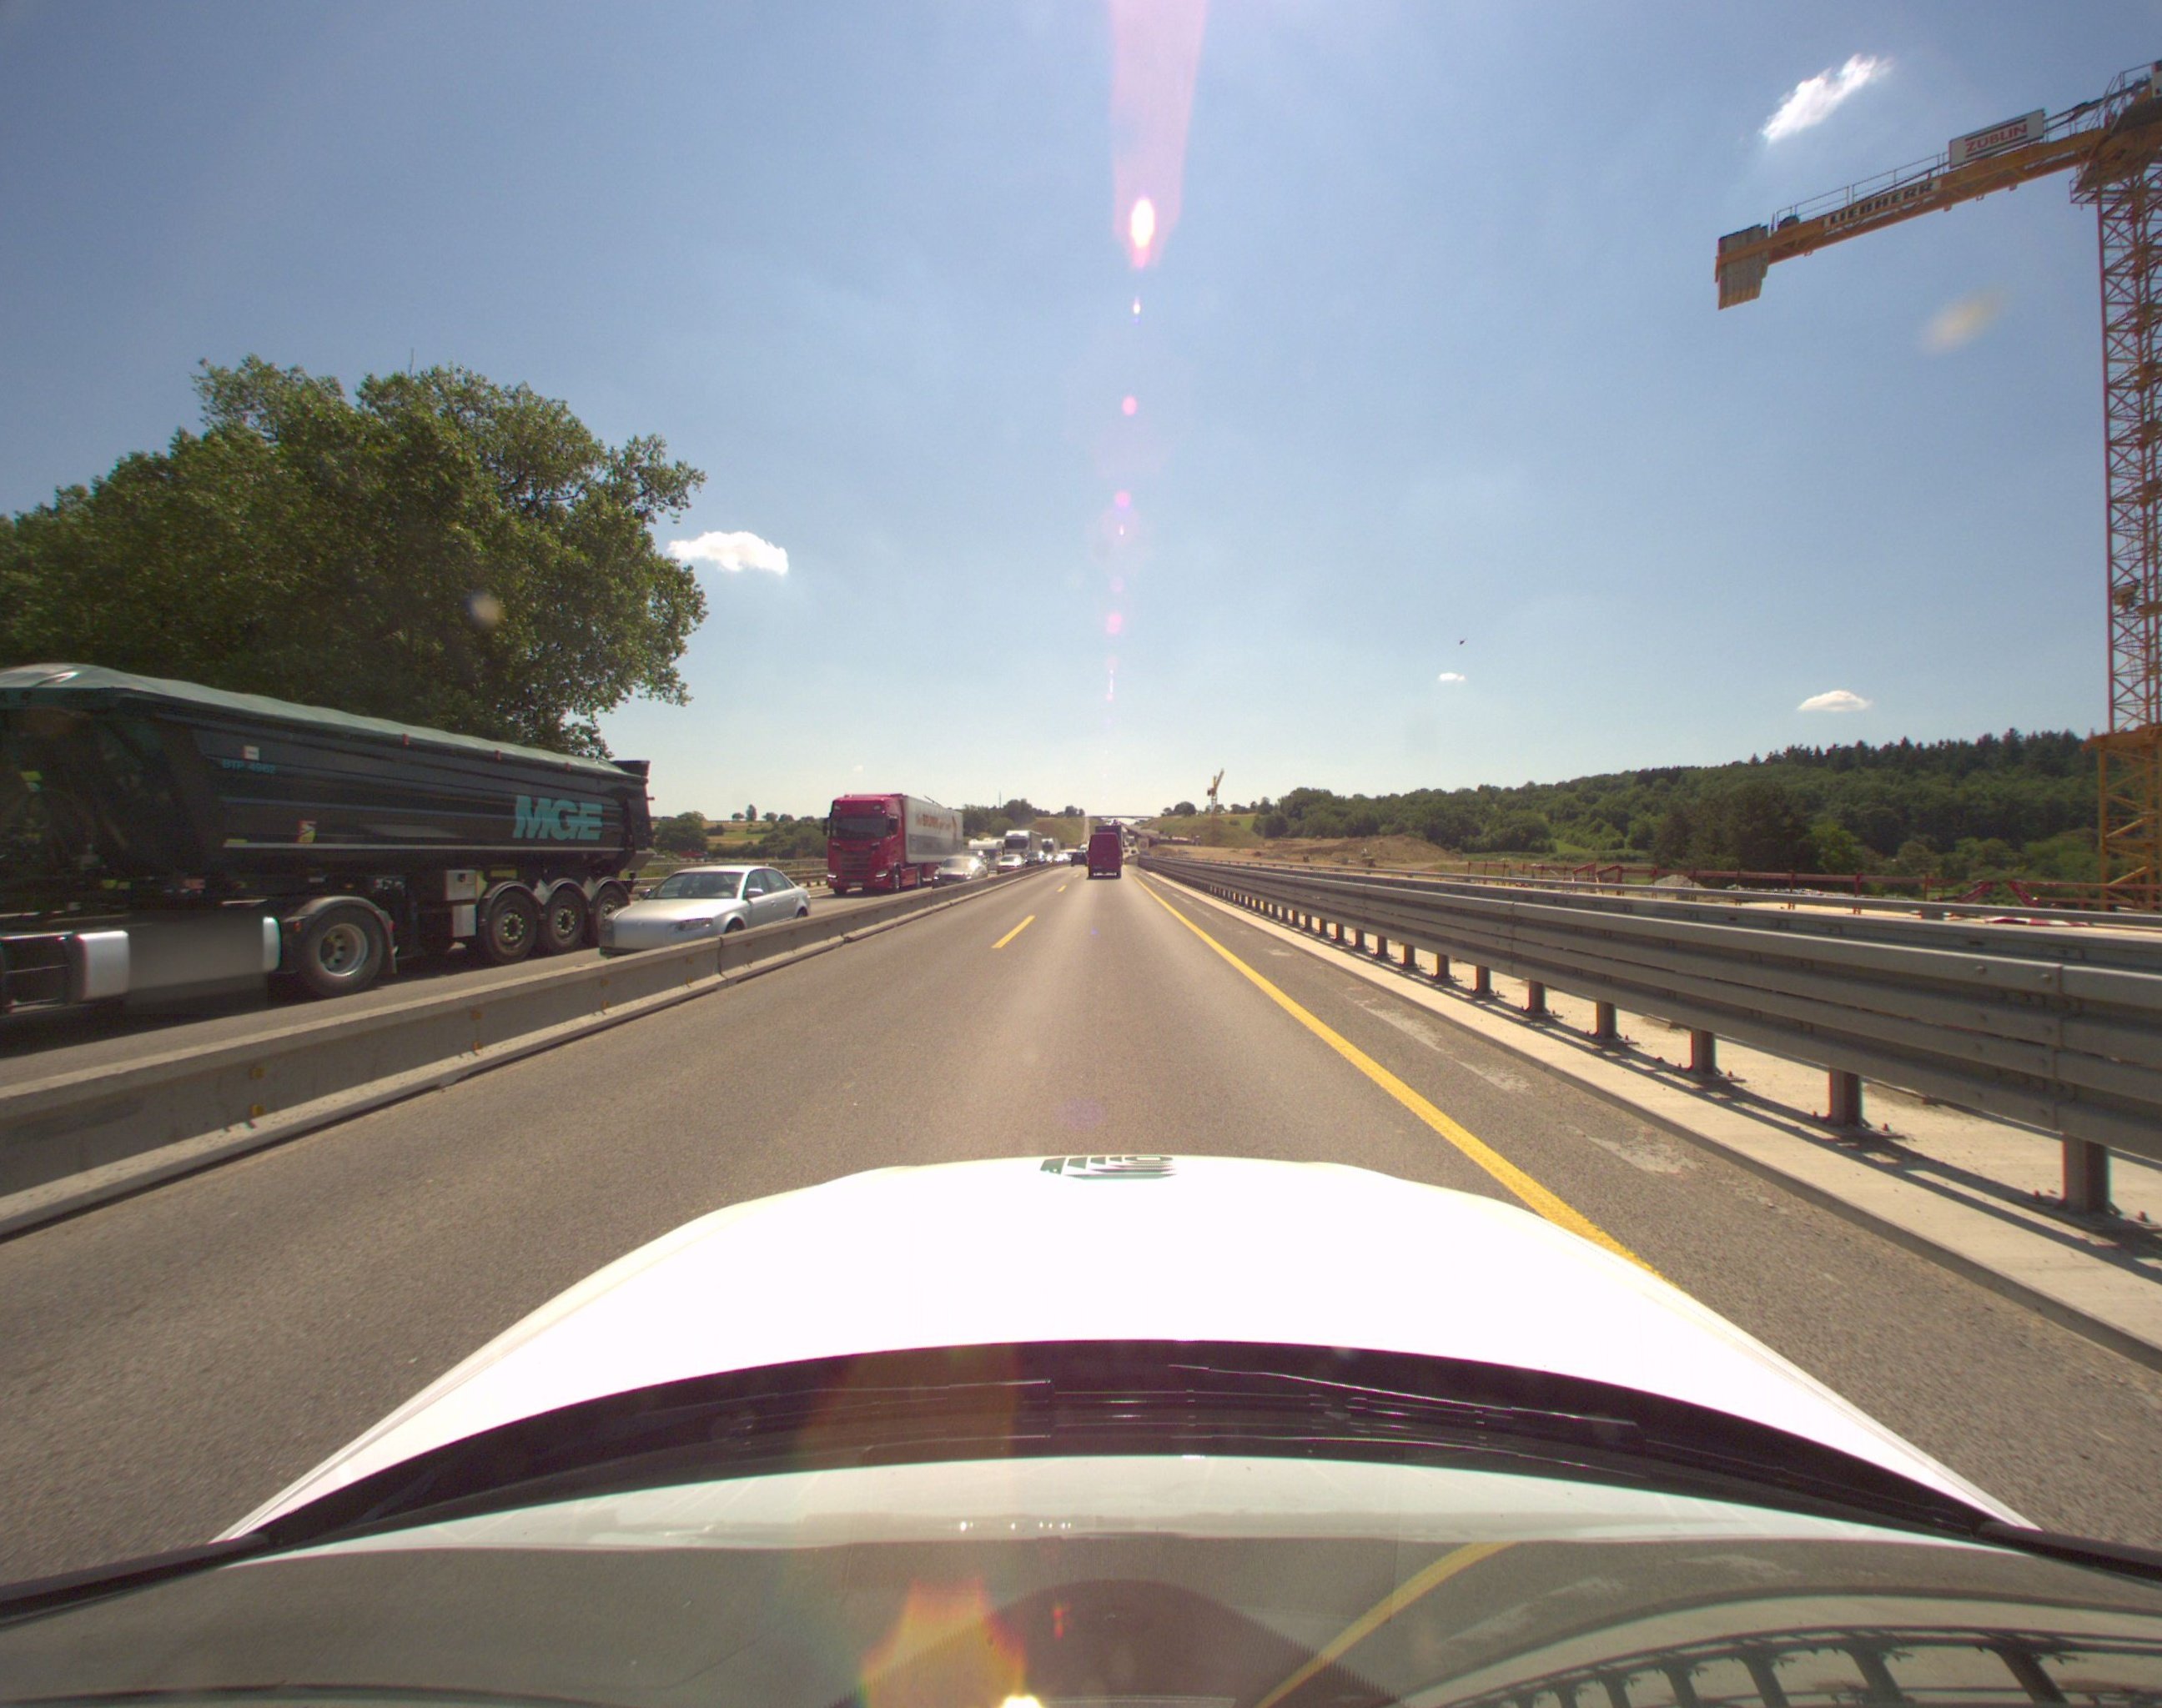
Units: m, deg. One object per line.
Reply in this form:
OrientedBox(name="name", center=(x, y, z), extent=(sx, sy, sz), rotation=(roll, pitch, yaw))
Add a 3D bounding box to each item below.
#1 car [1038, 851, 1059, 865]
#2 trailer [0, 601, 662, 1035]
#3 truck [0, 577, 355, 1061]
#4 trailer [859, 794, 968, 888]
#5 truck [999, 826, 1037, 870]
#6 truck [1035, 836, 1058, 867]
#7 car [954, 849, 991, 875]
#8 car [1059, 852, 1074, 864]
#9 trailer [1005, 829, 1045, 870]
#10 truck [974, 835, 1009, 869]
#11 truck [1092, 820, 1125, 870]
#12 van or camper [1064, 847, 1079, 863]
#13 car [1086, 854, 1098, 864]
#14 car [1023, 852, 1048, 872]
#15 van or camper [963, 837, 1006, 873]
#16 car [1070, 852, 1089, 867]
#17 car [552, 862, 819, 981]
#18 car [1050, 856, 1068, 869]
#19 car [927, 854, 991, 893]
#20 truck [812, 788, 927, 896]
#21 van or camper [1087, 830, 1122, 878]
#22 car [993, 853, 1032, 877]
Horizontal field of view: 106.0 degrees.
OrientedBox(name="car", center=(-3.361, 0.359, 85.716), extent=(1.770, 1.420, 4.541), rotation=(1, 0, 3))
OrientedBox(name="trailer", center=(-9.639, -0.280, 11.387), extent=(2.784, 3.672, 8.957), rotation=(-1, 0, 1))
OrientedBox(name="truck", center=(-9.700, -0.255, 6.572), extent=(2.787, 3.722, 5.375), rotation=(-1, 0, 1))
OrientedBox(name="trailer", center=(-8.284, -0.656, 42.237), extent=(2.796, 4.176, 11.804), rotation=(0, 1, 2))
OrientedBox(name="truck", center=(-6.715, -0.606, 87.570), extent=(3.065, 4.537, 7.108), rotation=(-1, 0, 3))
OrientedBox(name="truck", center=(-5.069, -0.383, 121.402), extent=(2.795, 4.392, 6.229), rotation=(-1, 0, 2))
OrientedBox(name="car", center=(-7.627, 0.549, 57.582), extent=(1.761, 1.734, 4.793), rotation=(0, 0, 2))
OrientedBox(name="car", center=(-1.988, 0.563, 111.689), extent=(1.750, 1.646, 4.157), rotation=(1, 0, 2))
OrientedBox(name="trailer", center=(-6.405, -0.516, 94.971), extent=(3.089, 4.465, 13.028), rotation=(-2, 0, 3))
OrientedBox(name="truck", center=(-10.454, -0.273, 95.707), extent=(2.893, 3.764, 8.372), rotation=(0, 0, 2))
OrientedBox(name="truck", center=(2.759, -0.873, 82.902), extent=(3.011, 4.693, 6.932), rotation=(-2, 0, 0))
OrientedBox(name="van or camper", center=(-1.490, 0.119, 128.714), extent=(2.211, 2.511, 6.534), rotation=(1, 0, 1))
OrientedBox(name="car", center=(1.882, 0.782, 136.135), extent=(2.005, 1.545, 4.133), rotation=(1, 0, 1))
OrientedBox(name="car", center=(-4.016, 0.713, 72.329), extent=(1.841, 1.688, 4.620), rotation=(1, 0, 1))
OrientedBox(name="van or camper", center=(-7.539, 0.067, 64.363), extent=(2.493, 2.698, 5.247), rotation=(-1, 0, 3))
OrientedBox(name="car", center=(-0.178, 0.569, 89.786), extent=(2.005, 1.545, 4.132), rotation=(-1, 0, 0))
OrientedBox(name="car", center=(-5.749, 0.874, 12.637), extent=(1.775, 1.380, 4.711), rotation=(-2, 0, 0))
OrientedBox(name="car", center=(-2.609, 1.035, 99.159), extent=(1.858, 1.459, 4.610), rotation=(1, 0, 3))
OrientedBox(name="car", center=(-5.153, 0.773, 35.013), extent=(1.883, 1.487, 4.921), rotation=(1, 0, 1))
OrientedBox(name="truck", center=(-8.612, -0.482, 34.044), extent=(2.804, 4.037, 6.527), rotation=(0, 0, 3))
OrientedBox(name="van or camper", center=(1.381, -0.005, 49.271), extent=(2.022, 2.744, 4.515), rotation=(0, 0, 0))
OrientedBox(name="car", center=(-4.747, 0.718, 56.775), extent=(1.892, 1.461, 4.201), rotation=(-2, 1, 5))
